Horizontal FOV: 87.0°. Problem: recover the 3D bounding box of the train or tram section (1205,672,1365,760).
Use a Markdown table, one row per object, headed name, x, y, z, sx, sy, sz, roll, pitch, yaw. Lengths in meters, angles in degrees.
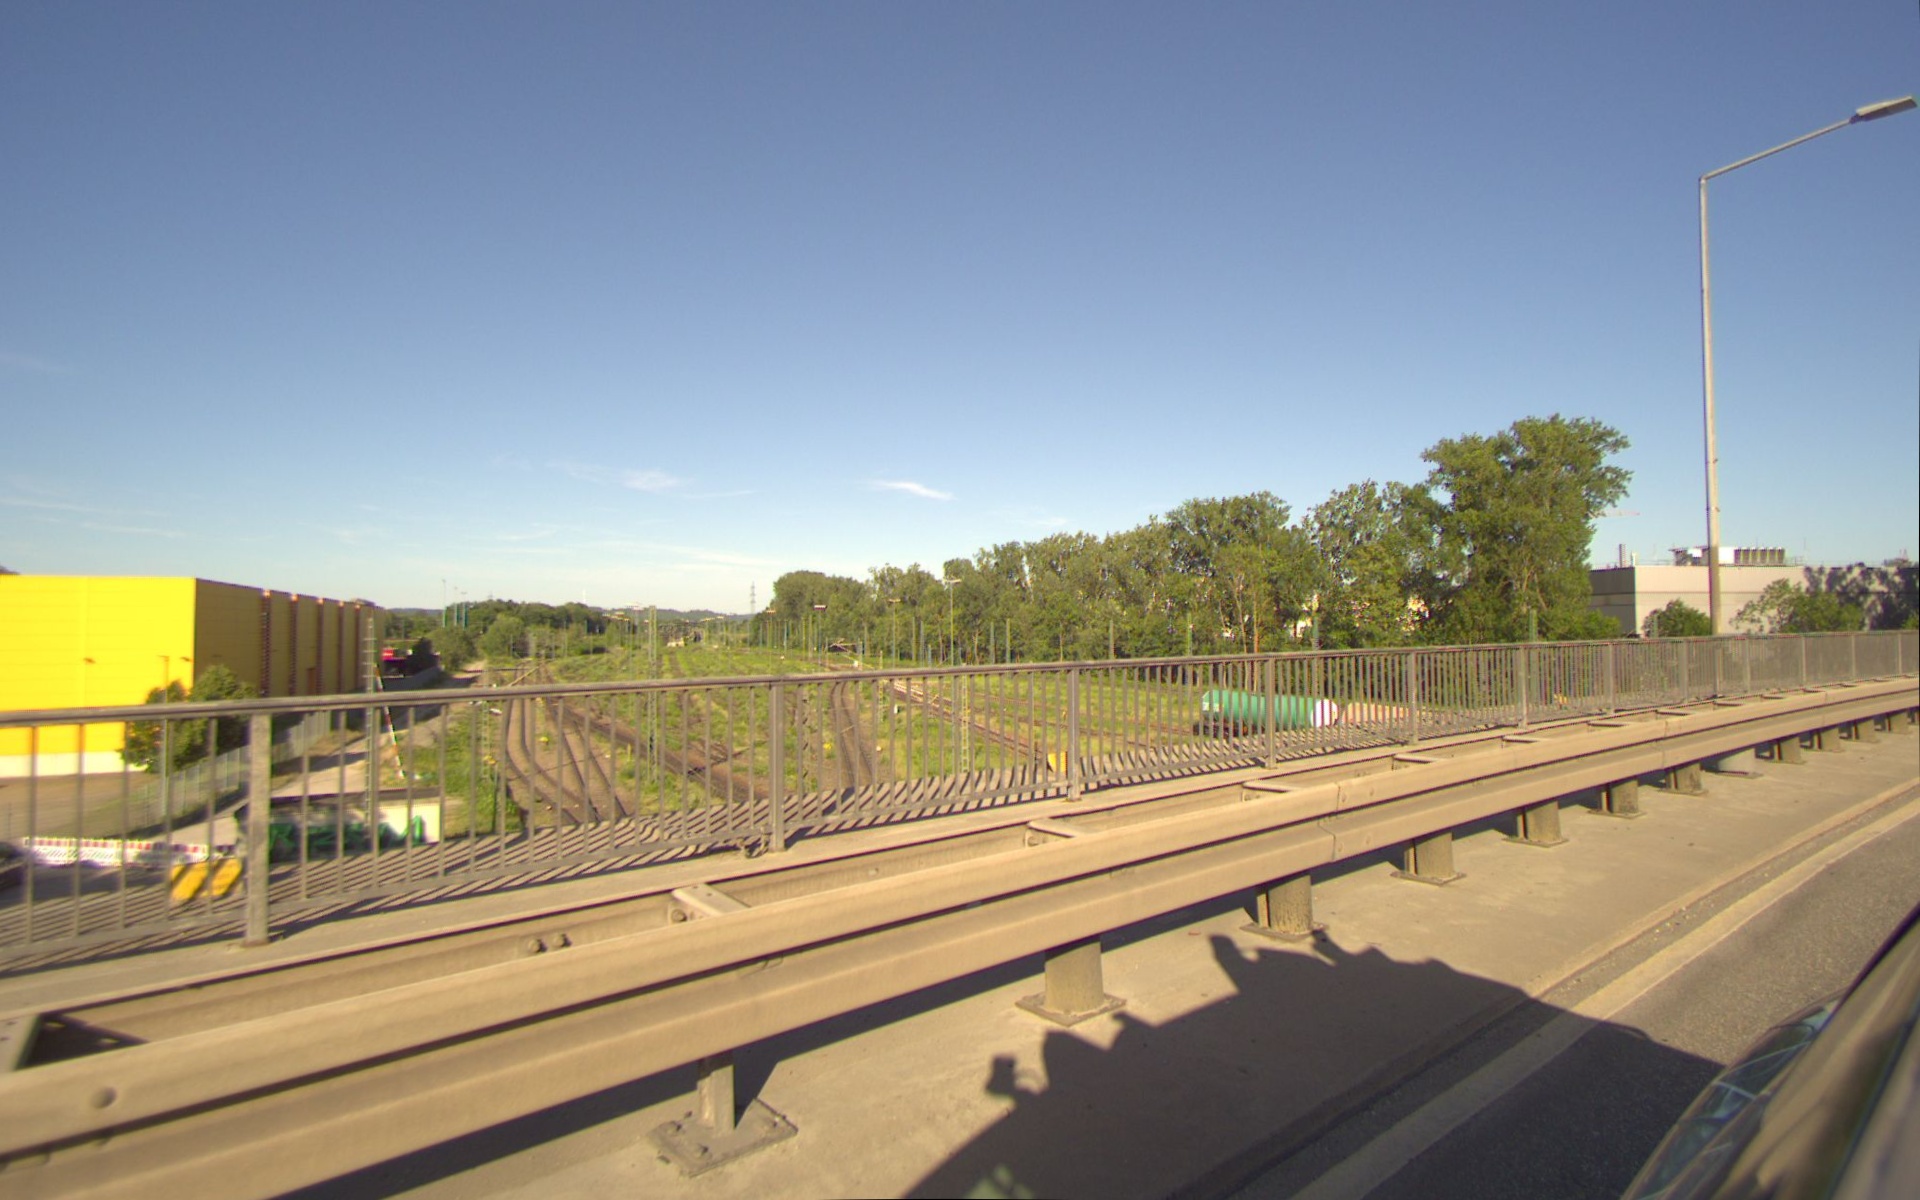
| name | x | y | z | sx | sy | sz | roll | pitch | yaw |
| --- | --- | --- | --- | --- | --- | --- | --- | --- | --- |
| train or tram section | 26.069 | 9.157 | 82.738 | 3.267 | 5.248 | 15.209 | 0 | 1 | -23 |
